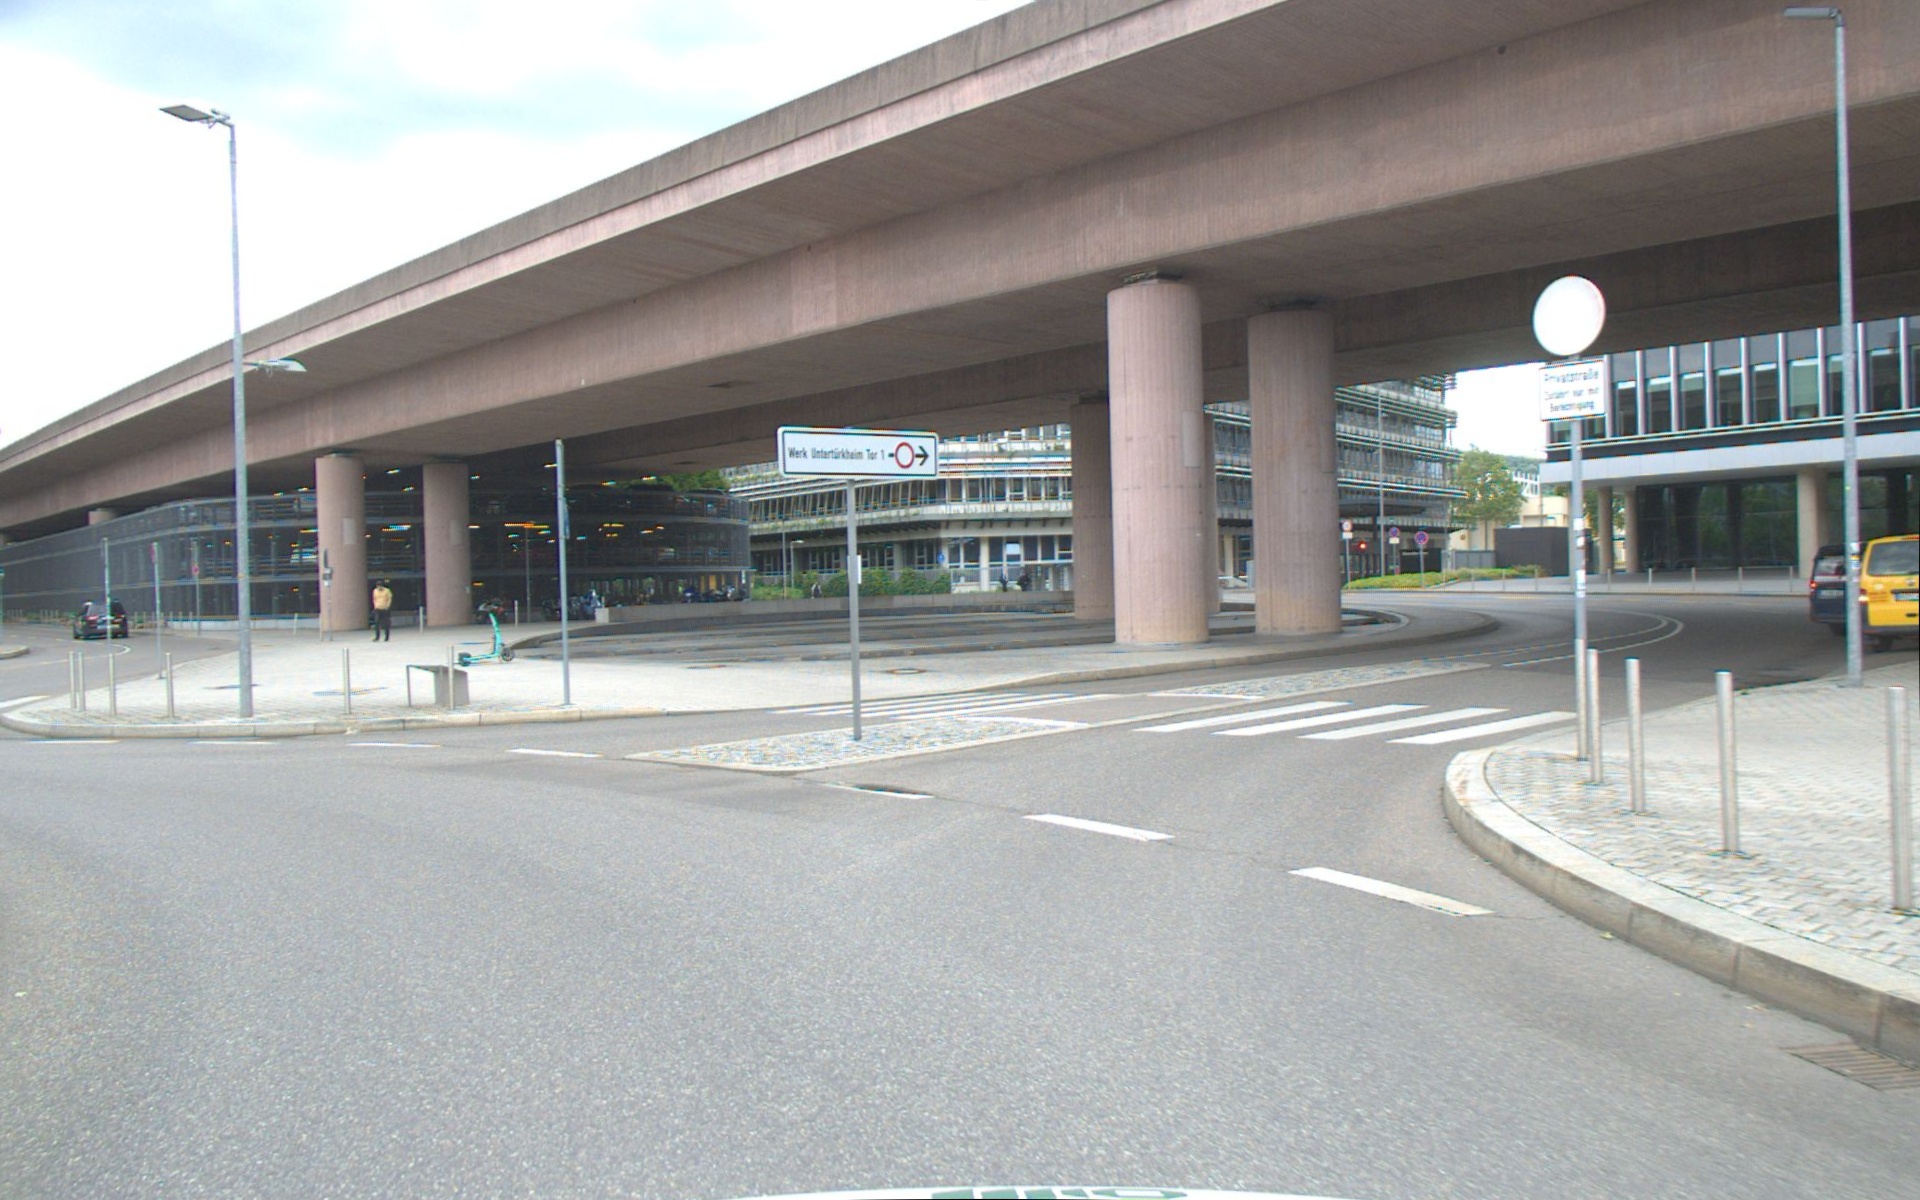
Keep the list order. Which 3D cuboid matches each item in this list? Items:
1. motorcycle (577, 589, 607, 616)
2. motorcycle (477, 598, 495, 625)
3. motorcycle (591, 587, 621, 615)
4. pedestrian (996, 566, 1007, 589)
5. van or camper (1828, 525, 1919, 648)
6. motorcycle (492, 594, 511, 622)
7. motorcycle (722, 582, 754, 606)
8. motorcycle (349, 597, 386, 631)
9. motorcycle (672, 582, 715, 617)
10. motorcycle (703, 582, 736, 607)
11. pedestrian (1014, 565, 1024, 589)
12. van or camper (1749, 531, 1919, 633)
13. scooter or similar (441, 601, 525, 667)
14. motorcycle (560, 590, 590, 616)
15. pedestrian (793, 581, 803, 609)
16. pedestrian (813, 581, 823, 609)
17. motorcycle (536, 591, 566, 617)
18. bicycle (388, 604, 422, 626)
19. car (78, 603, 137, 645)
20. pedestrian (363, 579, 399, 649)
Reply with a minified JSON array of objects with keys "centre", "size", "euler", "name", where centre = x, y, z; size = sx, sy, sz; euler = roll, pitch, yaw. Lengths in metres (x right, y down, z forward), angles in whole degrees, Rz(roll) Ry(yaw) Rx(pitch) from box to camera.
[{"centre":[-18.144,0.107,81.539],"size":[0.667,1.241,2.052],"euler":[-3,2,-36],"name":"motorcycle"},{"centre":[-21.565,0.539,75.271],"size":[0.510,1.191,1.150],"euler":[-1,-1,-1],"name":"motorcycle"},{"centre":[-17.553,0.035,81.994],"size":[0.667,1.308,2.052],"euler":[-3,2,-36],"name":"motorcycle"},{"centre":[2.710,-1.483,108.187],"size":[0.485,1.507,0.545],"euler":[-1,2,21],"name":"pedestrian"},{"centre":[17.382,-0.317,29.116],"size":[4.467,2.034,2.326],"euler":[-3,2,-42],"name":"van or camper"},{"centre":[-21.863,0.365,78.882],"size":[0.816,1.241,2.070],"euler":[-2,2,-15],"name":"motorcycle"},{"centre":[-11.900,-0.311,88.607],"size":[0.667,1.241,2.333],"euler":[-3,2,-36],"name":"motorcycle"},{"centre":[-26.253,0.607,73.304],"size":[1.728,1.480,0.641],"euler":[0,2,37],"name":"motorcycle"},{"centre":[-10.606,-0.033,65.851],"size":[0.536,1.286,1.937],"euler":[0,2,30],"name":"motorcycle"},{"centre":[-12.710,-0.289,87.420],"size":[0.667,1.297,2.333],"euler":[-3,2,-36],"name":"motorcycle"},{"centre":[3.831,-1.499,107.845],"size":[0.485,1.507,0.545],"euler":[-1,2,21],"name":"pedestrian"},{"centre":[18.843,-0.435,34.606],"size":[4.845,1.925,2.128],"euler":[-3,2,-35],"name":"van or camper"},{"centre":[-10.124,0.711,35.106],"size":[1.621,1.318,0.515],"euler":[-2,2,-23],"name":"scooter or similar"},{"centre":[-18.846,0.140,80.996],"size":[0.667,1.241,2.052],"euler":[-3,2,-36],"name":"motorcycle"},{"centre":[-11.899,-0.357,121.255],"size":[0.521,2.049,0.568],"euler":[-1,0,-30],"name":"pedestrian"},{"centre":[-10.420,-0.399,121.502],"size":[0.522,2.049,0.568],"euler":[-1,0,-30],"name":"pedestrian"},{"centre":[-19.903,0.185,80.477],"size":[0.667,1.241,2.052],"euler":[-3,2,-36],"name":"motorcycle"},{"centre":[-26.659,0.696,79.420],"size":[1.446,0.993,0.450],"euler":[-2,2,-12],"name":"bicycle"},{"centre":[-39.562,1.083,76.723],"size":[1.826,1.741,3.656],"euler":[-3,2,-37],"name":"car"},{"centre":[-17.442,0.416,49.811],"size":[0.775,2.048,1.028],"euler":[-2,2,-32],"name":"pedestrian"}]
